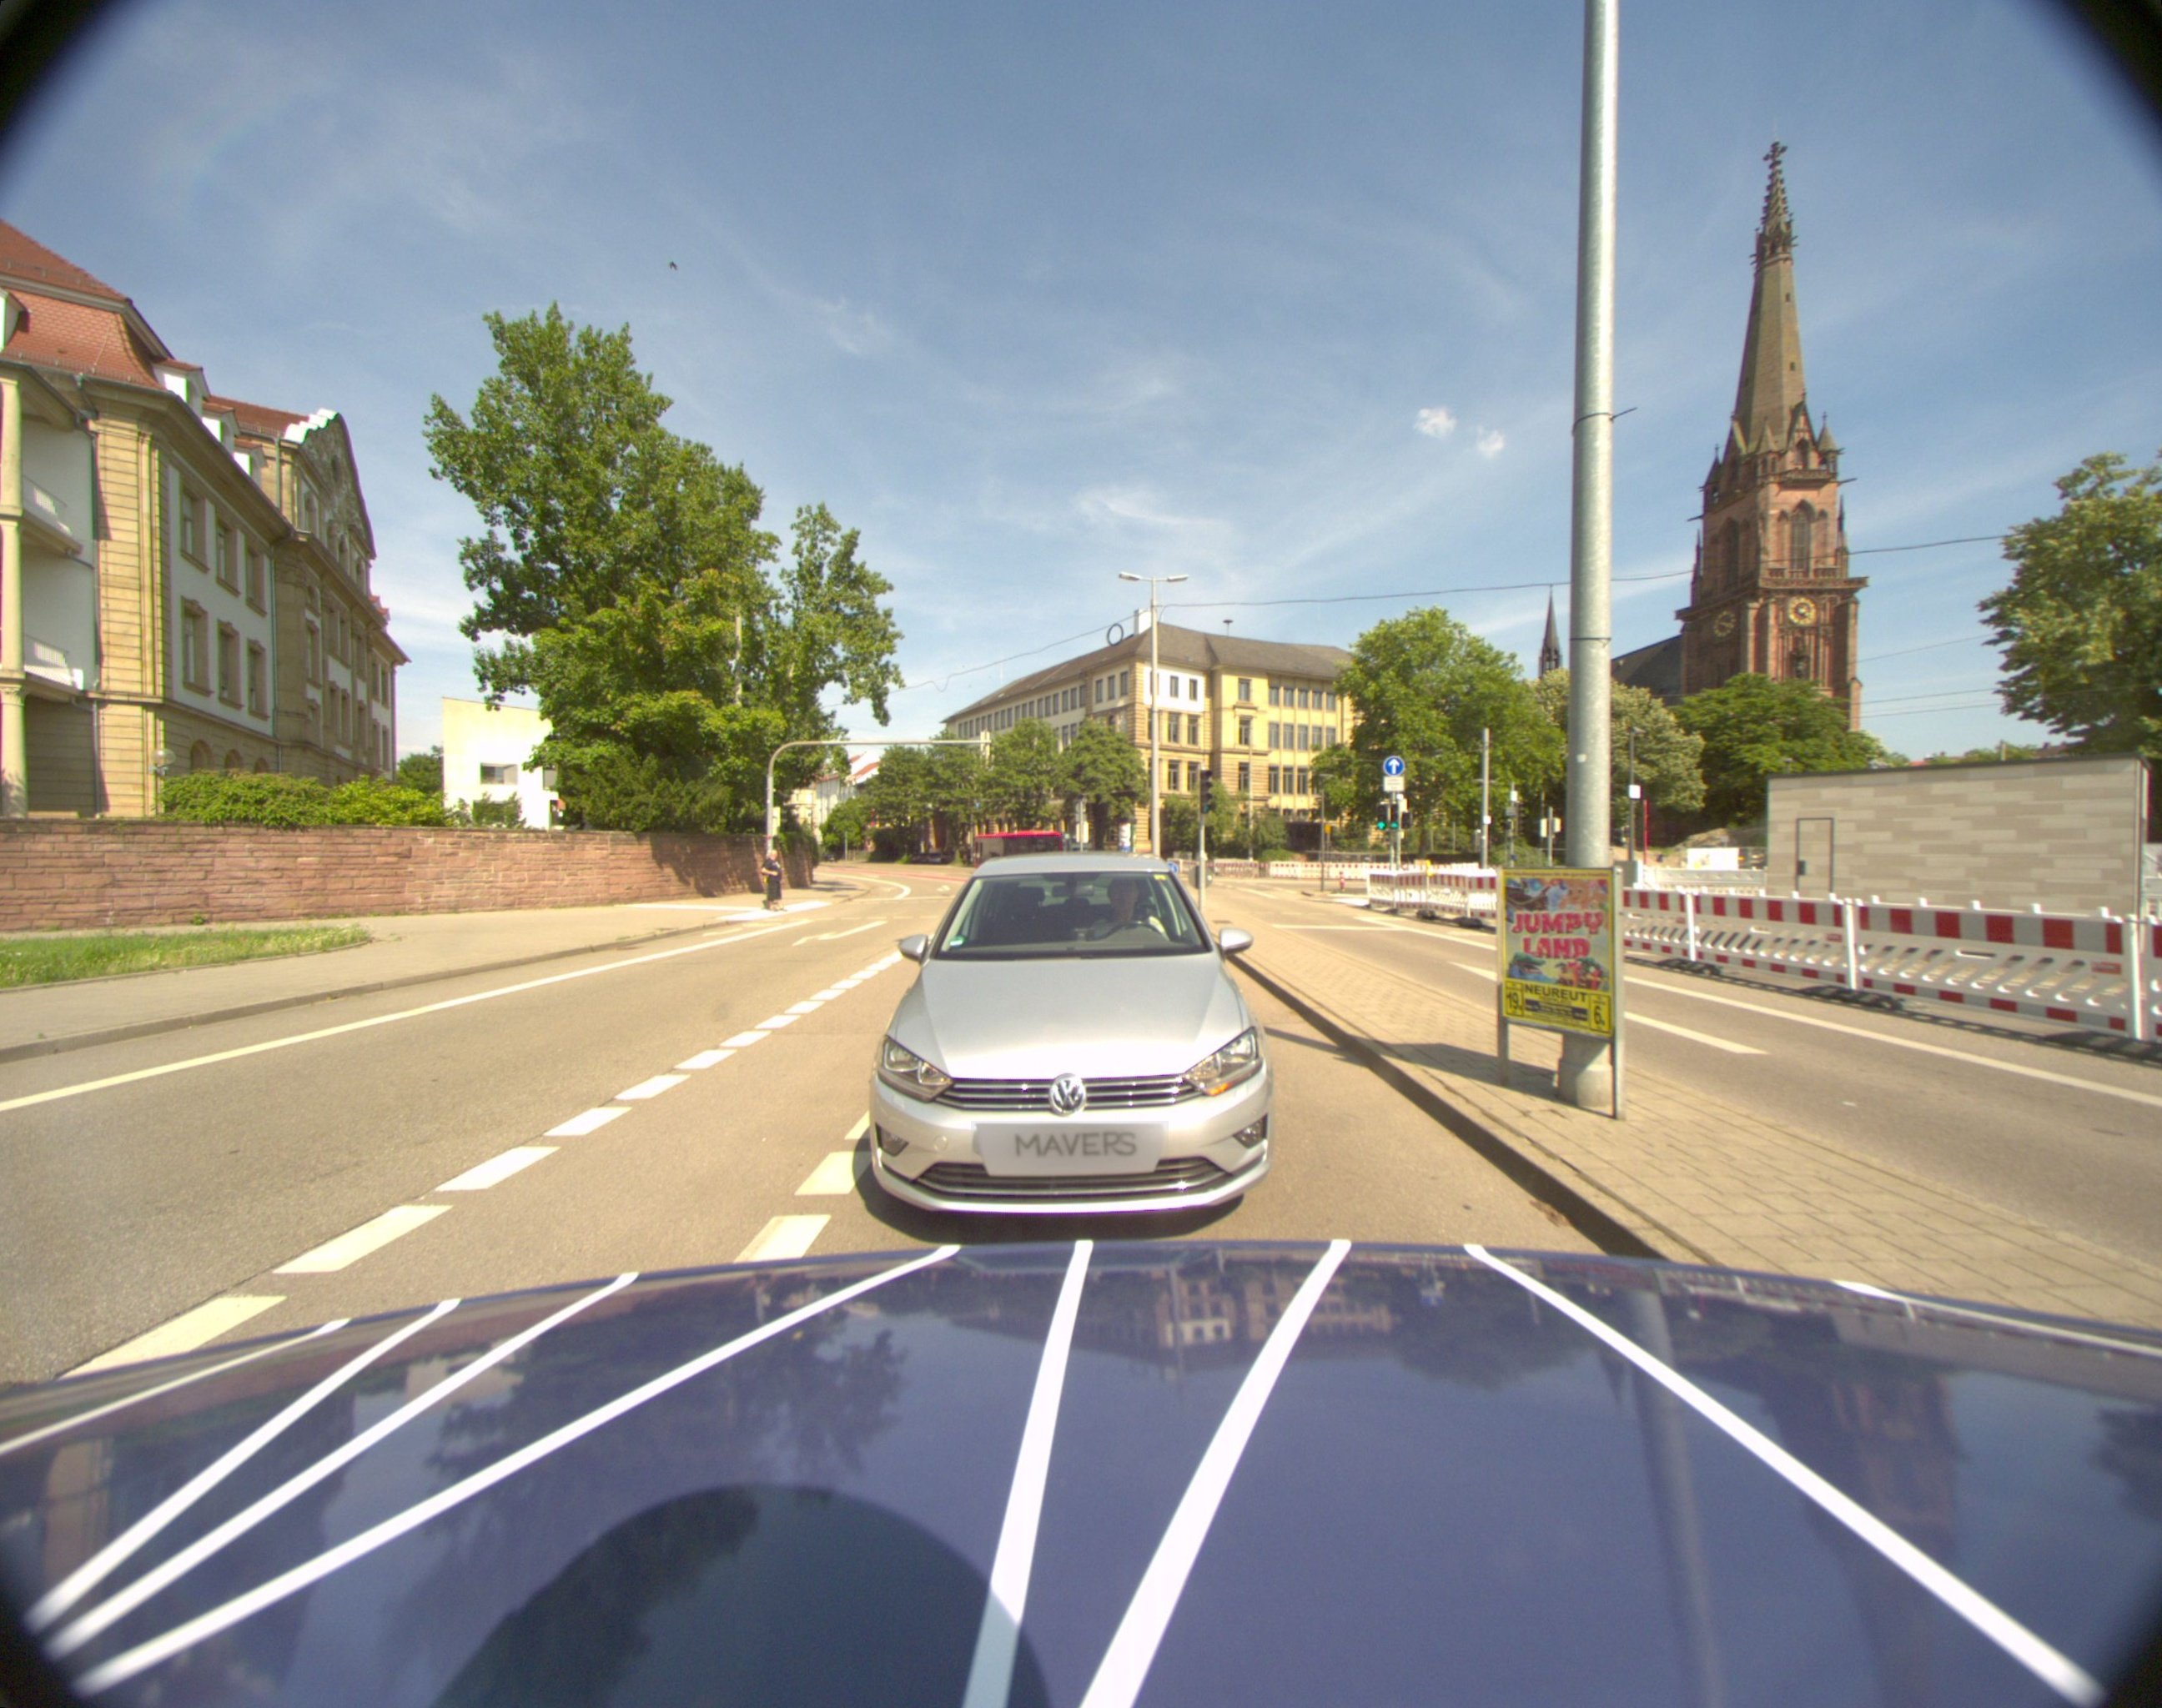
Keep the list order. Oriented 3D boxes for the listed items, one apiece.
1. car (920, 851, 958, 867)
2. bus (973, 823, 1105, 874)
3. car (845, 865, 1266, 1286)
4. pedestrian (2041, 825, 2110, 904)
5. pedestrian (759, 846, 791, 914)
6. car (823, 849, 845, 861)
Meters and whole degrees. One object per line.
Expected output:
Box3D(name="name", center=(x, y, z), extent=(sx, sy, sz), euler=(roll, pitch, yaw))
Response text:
Box3D(name="car", center=(-17.533, 0.598, 93.834), extent=(4.006, 1.653, 1.994), euler=(-3, 4, -35))
Box3D(name="bus", center=(-3.302, -0.309, 52.861), extent=(3.138, 3.076, 12.382), euler=(-3, 1, -34))
Box3D(name="car", center=(-0.011, 0.915, 5.124), extent=(1.687, 1.577, 4.152), euler=(0, 0, 3))
Box3D(name="pedestrian", center=(25.785, 0.270, 19.712), extent=(0.820, 2.002, 0.686), euler=(1, 1, 3))
Box3D(name="pedestrian", center=(-9.154, 0.770, 22.723), extent=(0.796, 2.002, 0.615), euler=(0, 1, -14))
Box3D(name="car", center=(-35.017, 0.139, 107.556), extent=(2.003, 1.608, 3.990), euler=(-3, 1, -31))
